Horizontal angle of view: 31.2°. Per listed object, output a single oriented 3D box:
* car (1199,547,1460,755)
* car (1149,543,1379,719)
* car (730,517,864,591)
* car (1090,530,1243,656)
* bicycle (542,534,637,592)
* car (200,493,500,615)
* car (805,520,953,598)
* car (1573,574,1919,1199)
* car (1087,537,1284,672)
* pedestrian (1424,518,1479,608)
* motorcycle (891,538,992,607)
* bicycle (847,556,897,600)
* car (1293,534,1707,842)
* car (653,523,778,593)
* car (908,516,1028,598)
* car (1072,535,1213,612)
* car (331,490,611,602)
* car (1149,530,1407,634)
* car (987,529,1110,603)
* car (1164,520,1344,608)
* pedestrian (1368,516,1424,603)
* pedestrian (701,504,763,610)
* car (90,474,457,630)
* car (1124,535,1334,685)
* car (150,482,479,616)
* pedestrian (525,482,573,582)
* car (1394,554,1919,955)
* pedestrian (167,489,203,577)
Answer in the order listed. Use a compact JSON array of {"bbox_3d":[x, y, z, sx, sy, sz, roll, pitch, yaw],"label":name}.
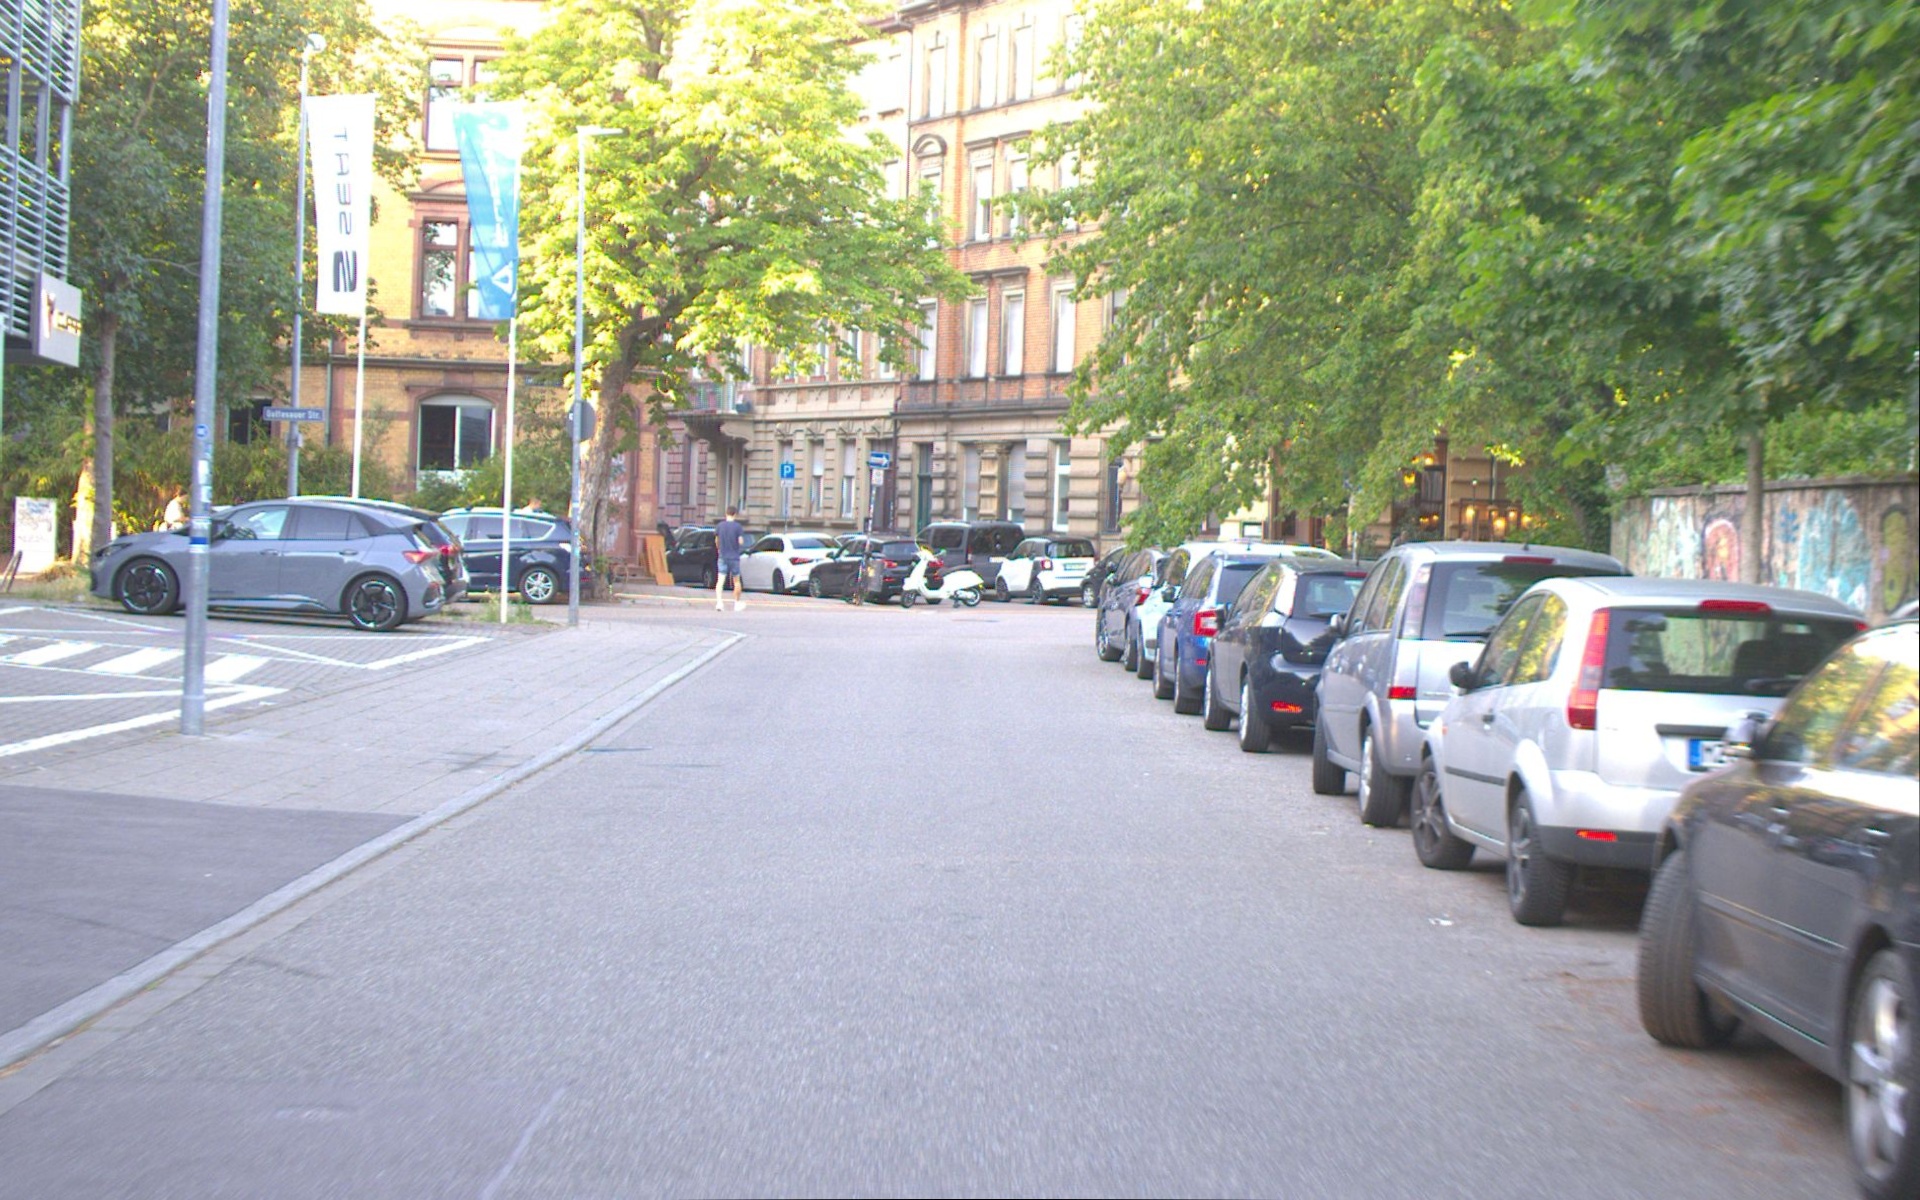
[{"bbox_3d":[2.876,0.351,27.434,1.596,1.471,3.774,2,1,-1],"label":"car"},{"bbox_3d":[2.763,0.237,32.059,1.695,1.471,4.117,2,1,-1],"label":"car"},{"bbox_3d":[-3.705,-1.054,77.391,1.654,1.426,4.168,2,2,-23],"label":"car"},{"bbox_3d":[2.740,-0.129,46.414,1.695,1.565,3.972,2,1,-1],"label":"car"},{"bbox_3d":[-6.921,-0.690,64.247,1.671,1.024,0.446,1,2,-24],"label":"bicycle"},{"bbox_3d":[-8.849,-0.683,50.147,4.045,1.470,1.921,4,2,-4],"label":"car"},{"bbox_3d":[-1.750,-0.888,72.949,1.654,1.426,3.991,2,2,-24],"label":"car"},{"bbox_3d":[2.966,0.731,9.249,1.759,1.449,4.393,2,2,-1],"label":"car"},{"bbox_3d":[2.653,0.019,41.381,1.695,1.471,4.213,2,1,-5],"label":"car"},{"bbox_3d":[10.076,-0.758,70.460,0.773,1.798,0.843,1,2,-15],"label":"pedestrian"},{"bbox_3d":[-0.379,-0.560,69.684,1.931,1.336,0.577,2,2,-10],"label":"motorcycle"},{"bbox_3d":[-1.719,-0.439,67.571,0.425,0.819,1.460,3,2,21],"label":"bicycle"},{"bbox_3d":[3.092,0.437,20.414,1.759,1.598,3.874,2,1,-1],"label":"car"},{"bbox_3d":[-5.841,-1.016,81.854,1.654,1.426,3.897,2,2,-24],"label":"car"},{"bbox_3d":[0.175,-1.040,81.507,1.674,1.776,3.016,2,2,-25],"label":"car"},{"bbox_3d":[3.933,-0.592,74.521,1.674,1.520,3.245,1,2,-24],"label":"car"},{"bbox_3d":[-8.726,-0.976,61.609,4.828,1.726,1.921,3,2,-6],"label":"car"},{"bbox_3d":[4.953,-0.265,53.223,1.880,1.461,3.961,5,3,43],"label":"car"},{"bbox_3d":[1.991,-0.789,77.968,1.674,1.520,2.768,2,2,-25],"label":"car"},{"bbox_3d":[5.954,-0.743,69.981,1.914,1.520,3.897,2,3,-25],"label":"car"},{"bbox_3d":[9.183,-0.863,72.502,0.840,1.798,0.776,1,2,-21],"label":"pedestrian"},{"bbox_3d":[-3.996,-0.756,60.102,0.735,1.798,1.122,1,2,-21],"label":"pedestrian"},{"bbox_3d":[-8.473,-0.615,42.702,4.129,1.612,1.913,4,2,-2],"label":"car"},{"bbox_3d":[2.834,0.073,36.928,1.695,1.471,3.560,2,1,-4],"label":"car"},{"bbox_3d":[-8.582,-0.691,45.944,4.066,1.612,1.765,2,2,-2],"label":"car"},{"bbox_3d":[-7.762,-1.289,64.991,0.815,1.846,0.803,2,2,-5],"label":"pedestrian"},{"bbox_3d":[3.113,0.585,15.429,1.759,1.436,3.874,2,2,-1],"label":"car"},{"bbox_3d":[-14.415,-1.249,63.955,0.542,1.629,0.448,2,2,-5],"label":"pedestrian"}]
